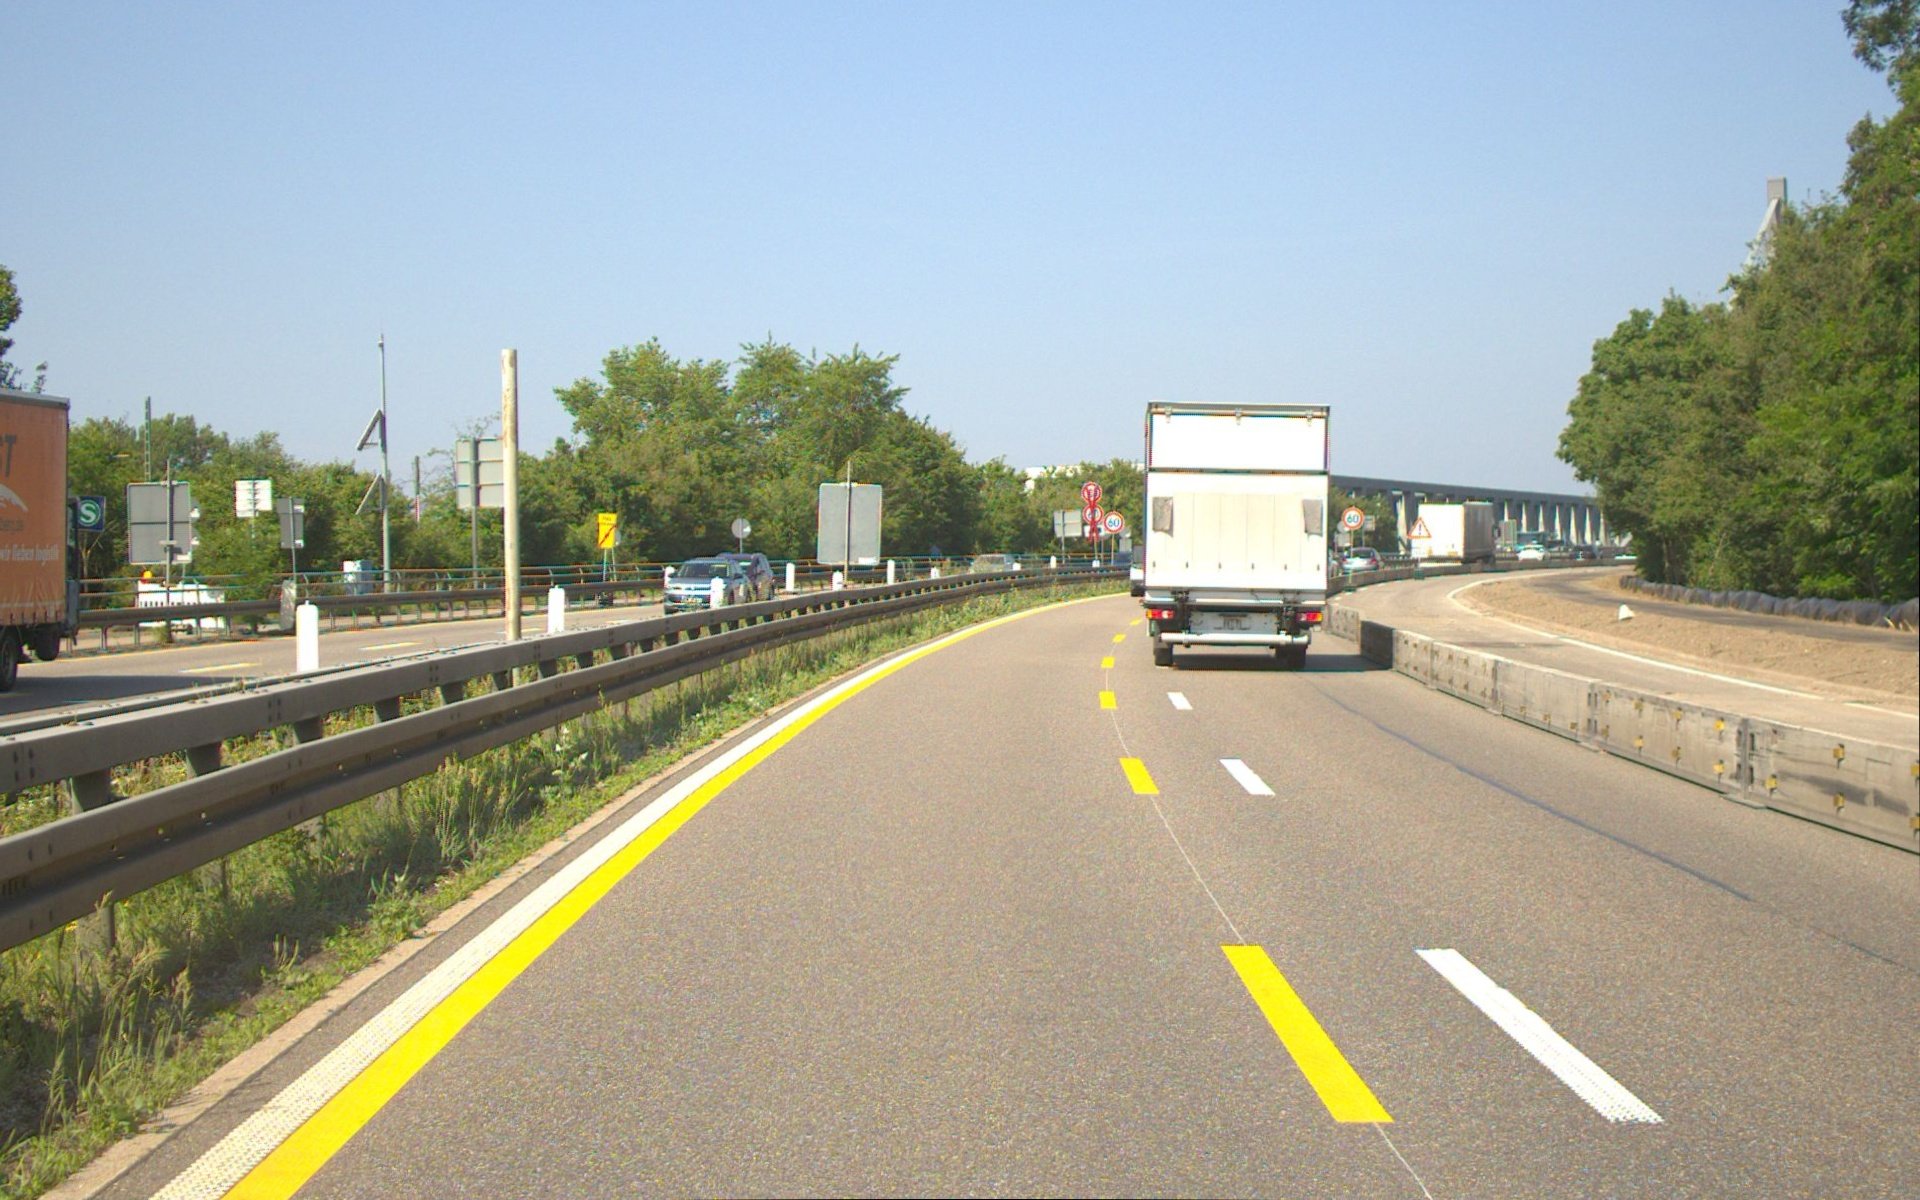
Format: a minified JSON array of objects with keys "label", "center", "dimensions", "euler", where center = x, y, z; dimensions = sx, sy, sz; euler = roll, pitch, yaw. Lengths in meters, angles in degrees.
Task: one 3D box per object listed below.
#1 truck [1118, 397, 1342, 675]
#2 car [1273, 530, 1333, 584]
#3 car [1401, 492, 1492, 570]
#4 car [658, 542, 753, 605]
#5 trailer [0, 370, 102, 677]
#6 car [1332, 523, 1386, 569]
[{"label":"truck","center":[3.757,-0.870,46.437],"dimensions":[2.635,3.416,7.231],"euler":[1,1,7]},{"label":"car","center":[13.714,-1.735,137.357],"dimensions":[1.994,2.007,3.999],"euler":[-2,1,10]},{"label":"car","center":[28.173,-4.057,198.684],"dimensions":[4.210,4.237,10.656],"euler":[-2,1,13]},{"label":"car","center":[-7.059,-0.755,95.837],"dimensions":[1.909,1.645,4.376],"euler":[-1,1,5]},{"label":"trailer","center":[-14.274,-1.020,45.515],"dimensions":[3.038,4.077,9.788],"euler":[1,1,2]},{"label":"car","center":[18.539,-2.498,159.568],"dimensions":[1.994,2.007,3.998],"euler":[-2,1,13]}]
